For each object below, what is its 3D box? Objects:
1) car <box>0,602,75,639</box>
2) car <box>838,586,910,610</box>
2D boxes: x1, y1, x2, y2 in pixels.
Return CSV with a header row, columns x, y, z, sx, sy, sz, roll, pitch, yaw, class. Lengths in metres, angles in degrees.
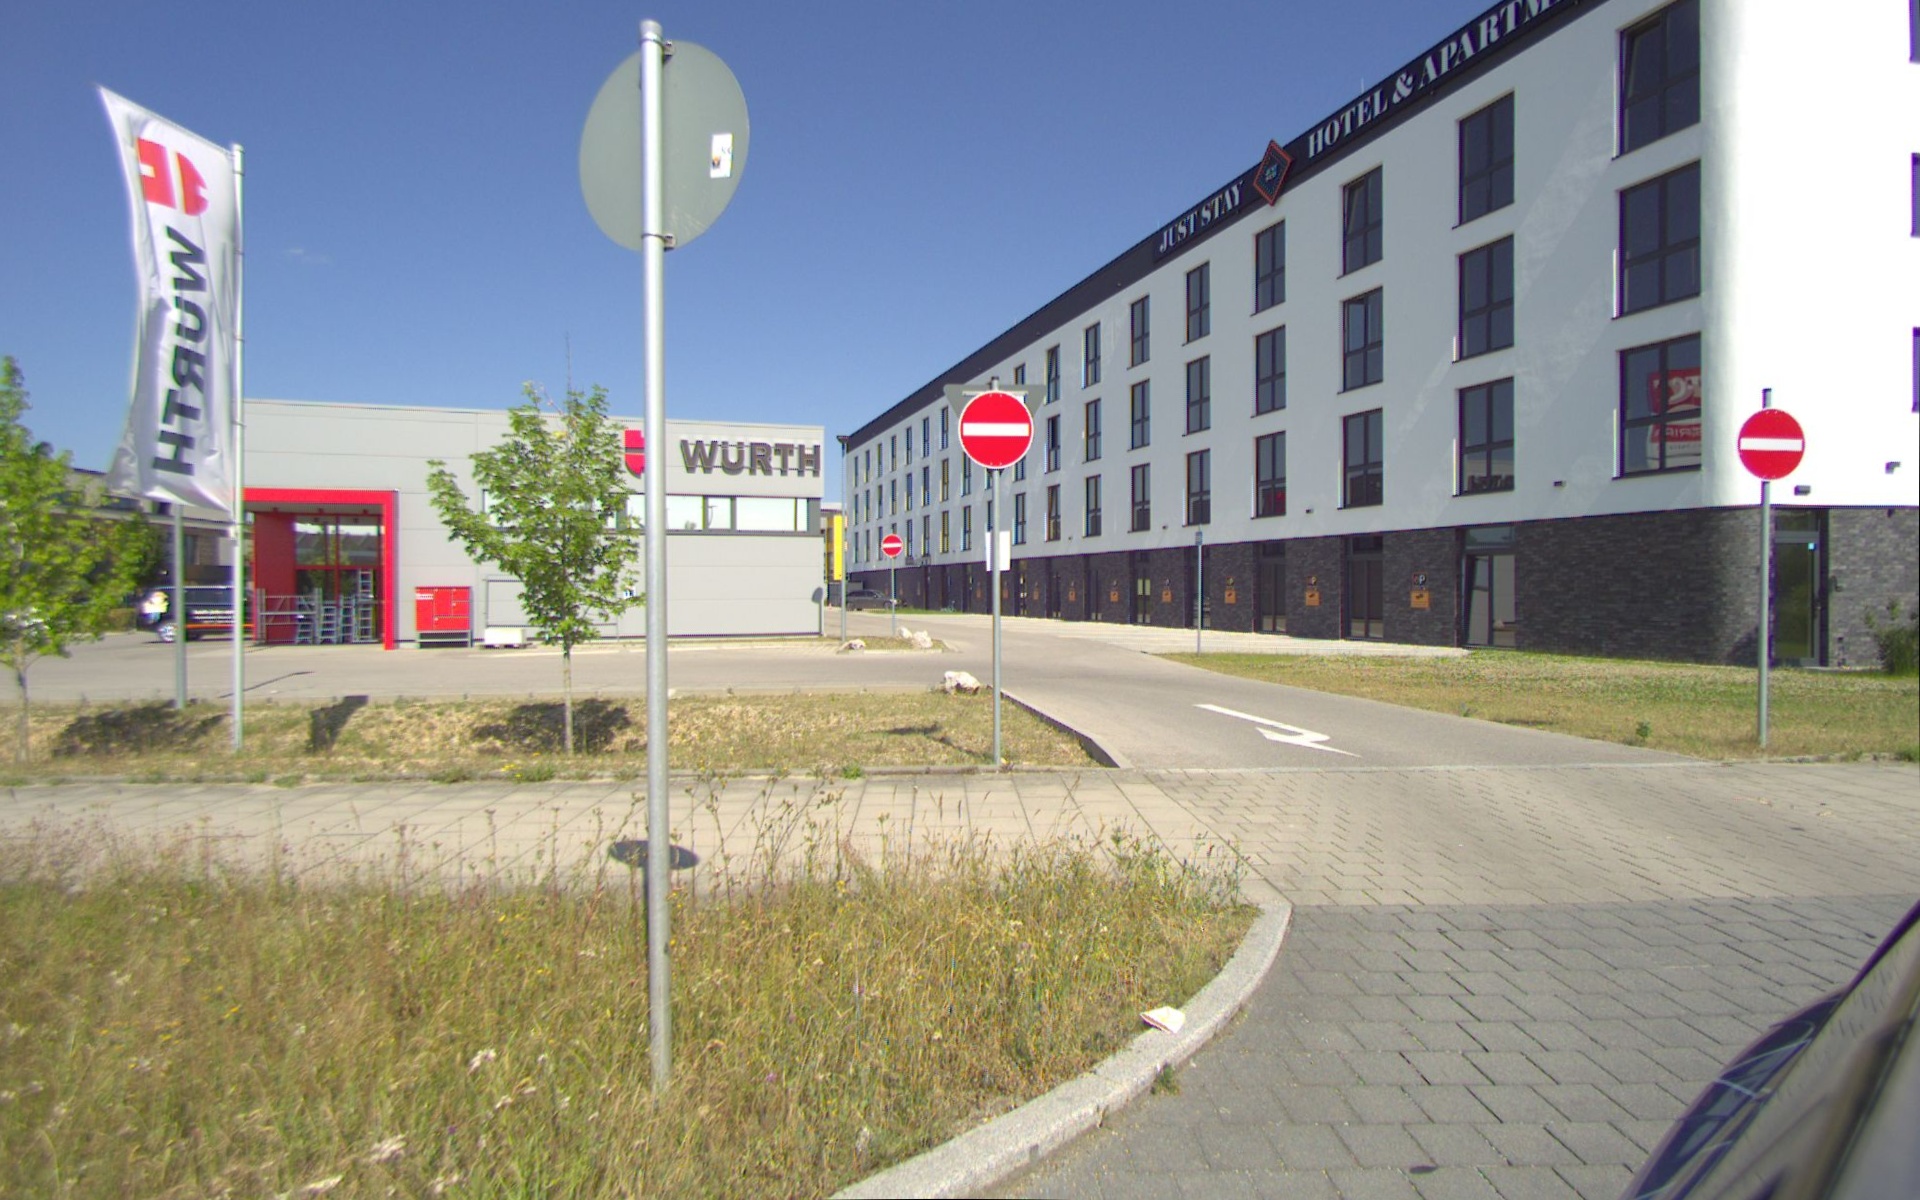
x,y,z,sx,sy,sz,roll,pitch,yaw,class
-39.984,0.858,42.504,3.832,1.493,1.807,-1,0,-15,car
-5.722,-0.142,67.638,4.464,1.527,1.869,-1,1,18,car
